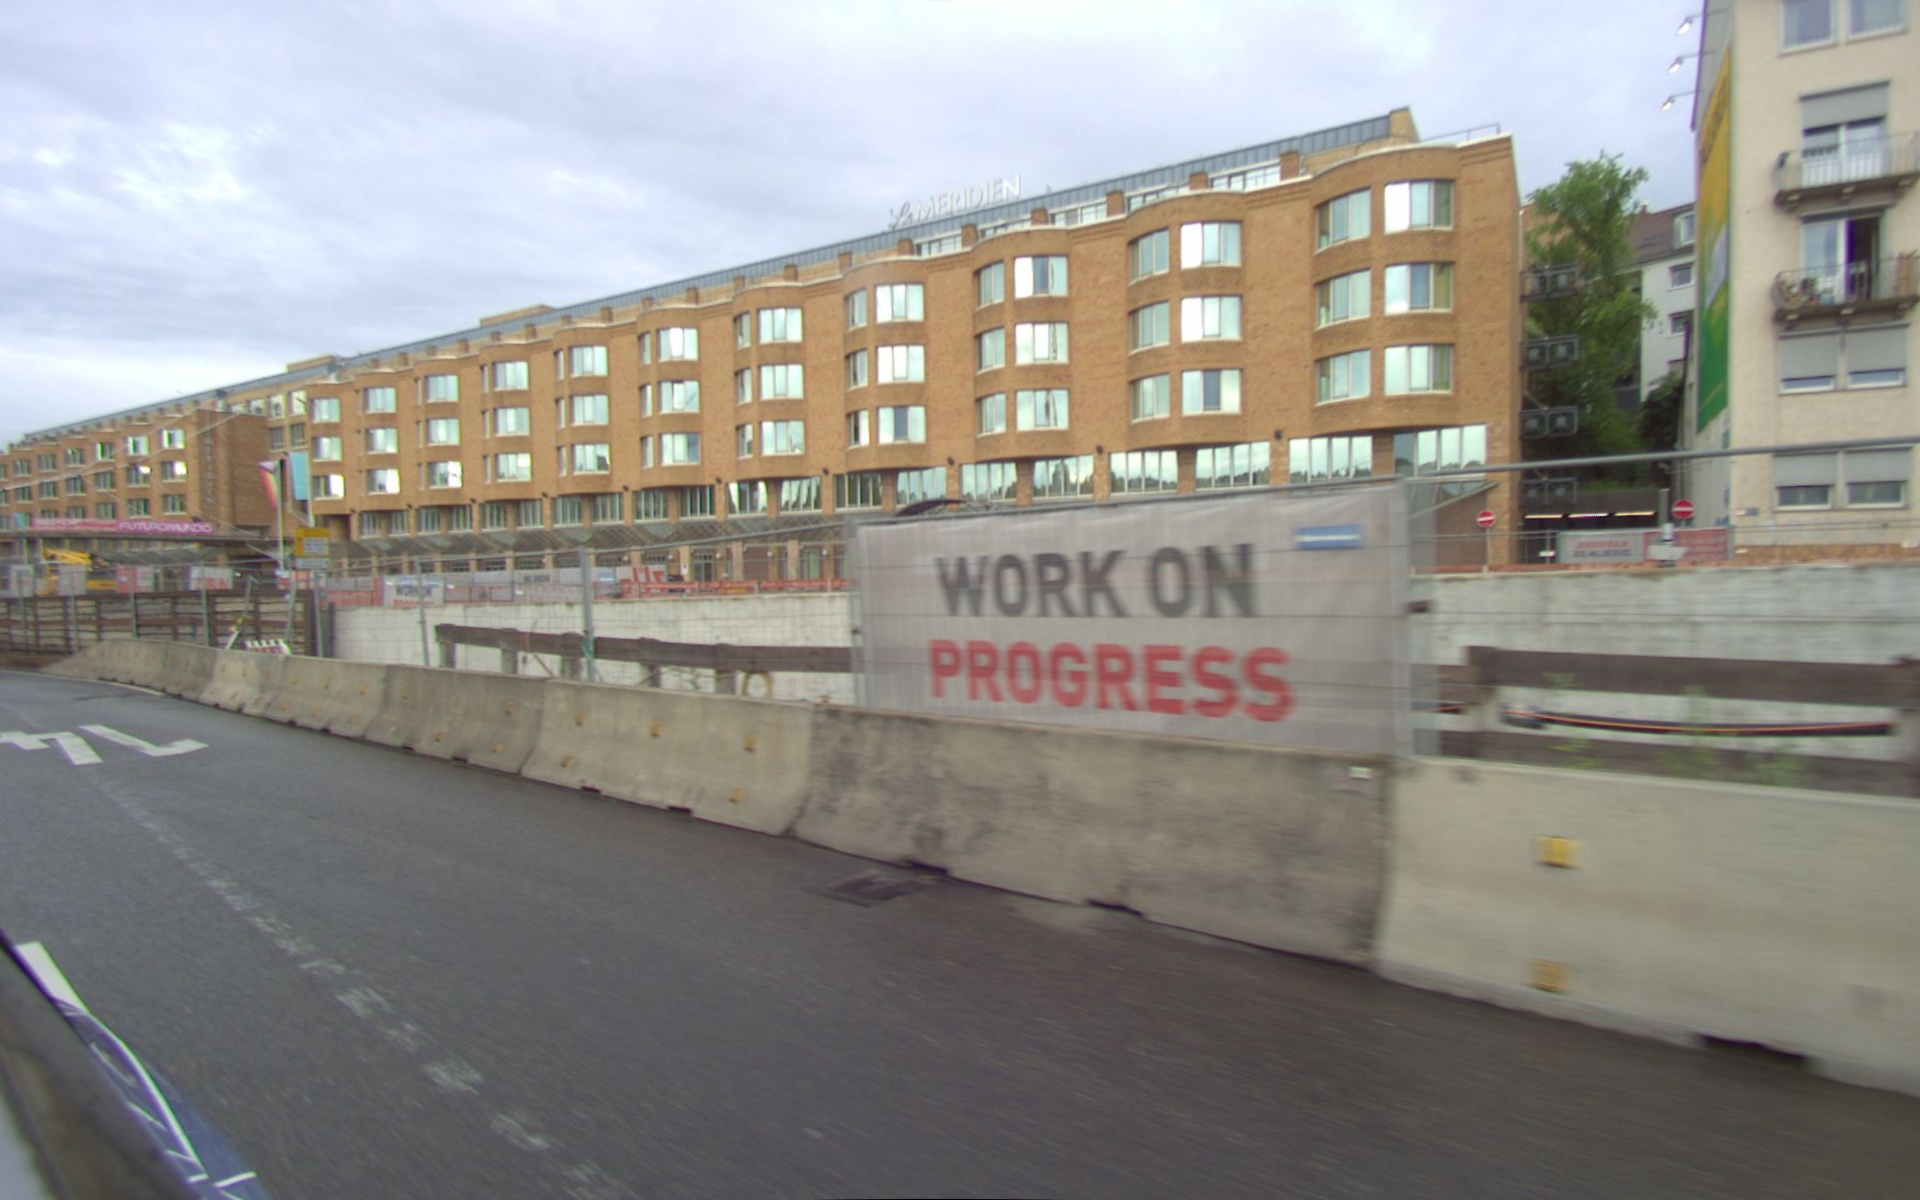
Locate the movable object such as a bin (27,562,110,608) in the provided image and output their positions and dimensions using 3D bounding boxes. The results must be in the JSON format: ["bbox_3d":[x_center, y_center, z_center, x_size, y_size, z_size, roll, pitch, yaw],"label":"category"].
[{"bbox_3d":[-47.064,-0.762,53.429,4.276,2.295,2.012,-1,-2,30],"label":"movable object such as a bin"}]
